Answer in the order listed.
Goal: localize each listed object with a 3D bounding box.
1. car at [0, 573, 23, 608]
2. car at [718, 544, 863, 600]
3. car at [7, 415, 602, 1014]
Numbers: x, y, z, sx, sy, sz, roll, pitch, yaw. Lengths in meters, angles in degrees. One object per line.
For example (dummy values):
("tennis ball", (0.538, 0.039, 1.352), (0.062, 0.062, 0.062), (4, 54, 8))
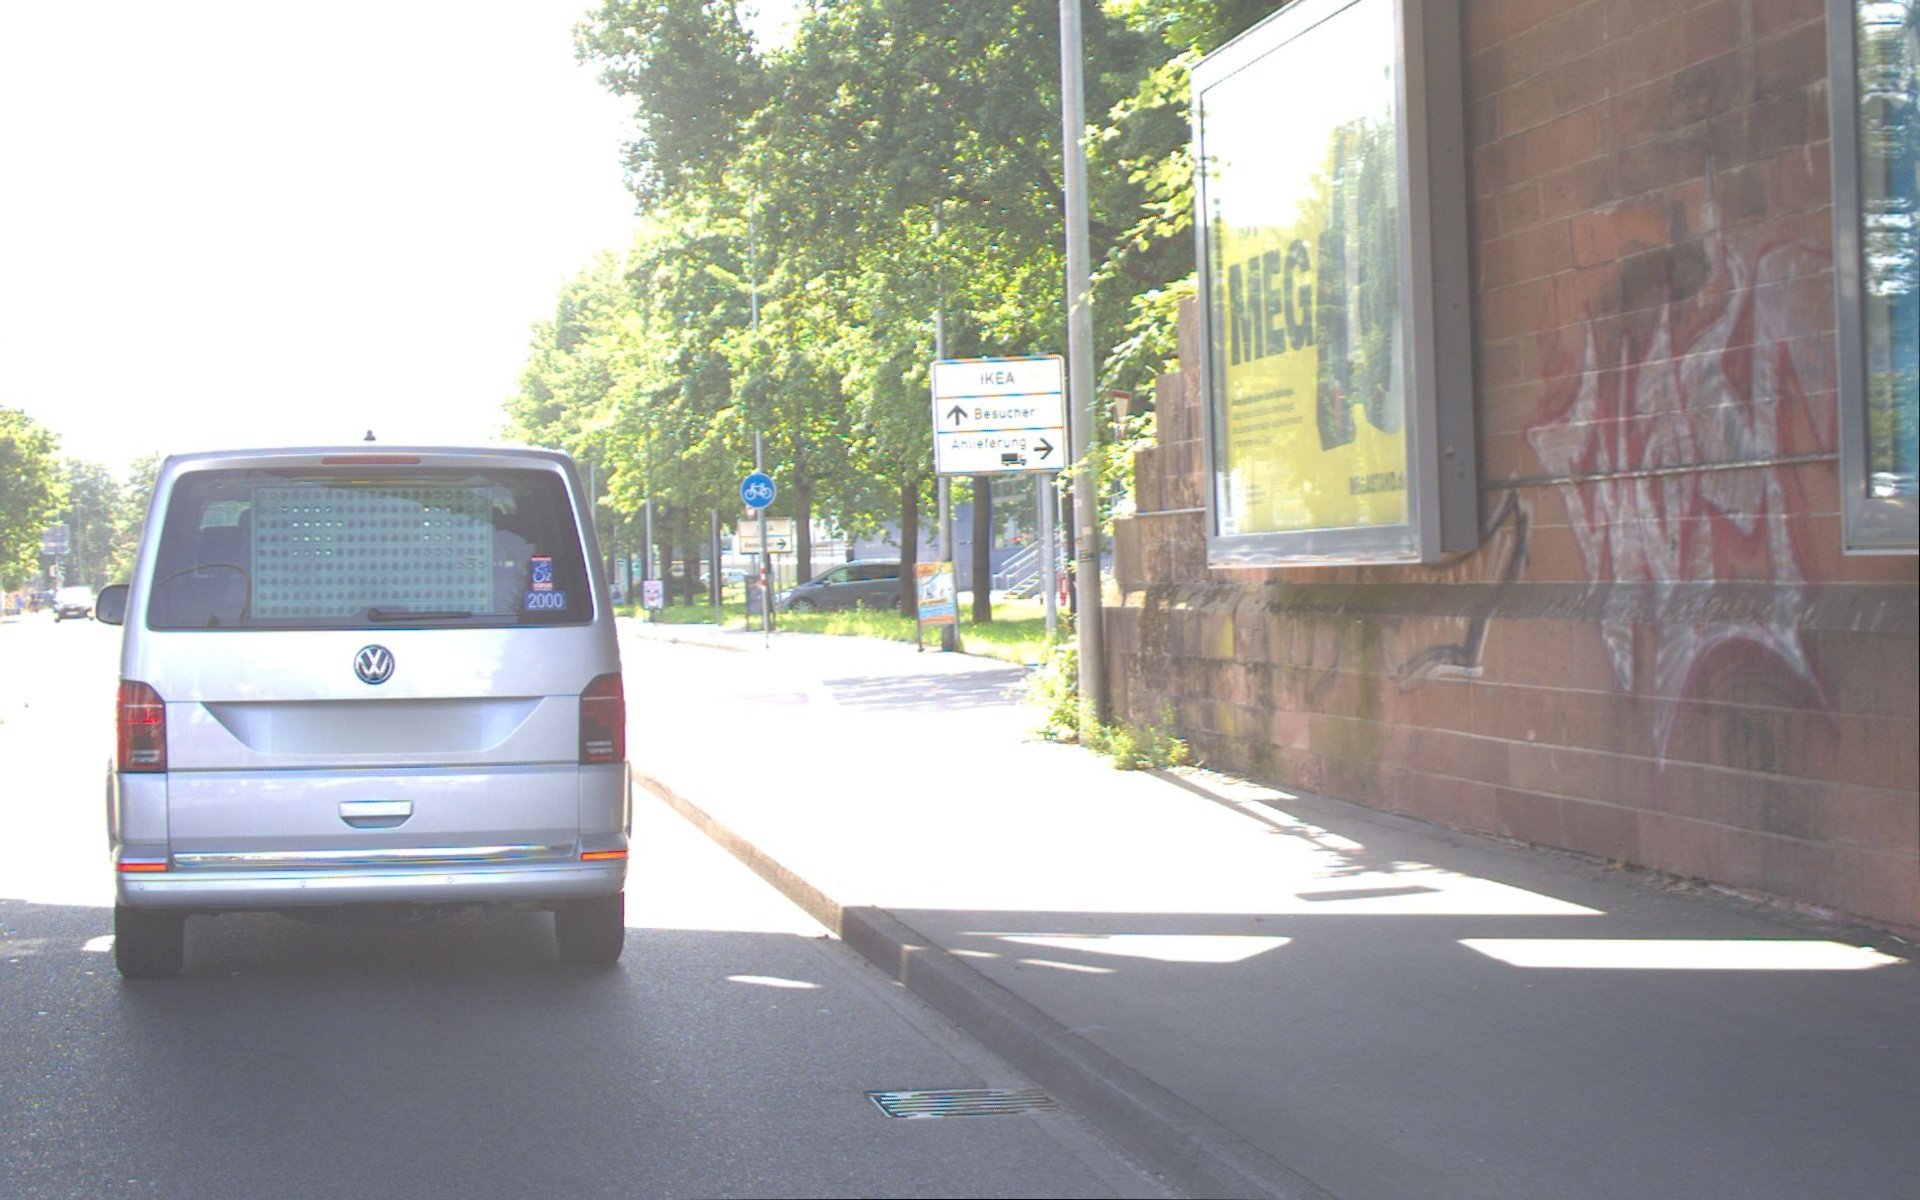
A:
("car", (-42.496, -0.414, 151.932), (1.968, 1.487, 4.083), (-2, 1, -14))
("car", (-4.687, -0.785, 94.893), (3.799, 1.411, 1.702), (-2, 1, -9))
("car", (-2.748, 0.349, 13.939), (1.941, 1.965, 5.023), (-1, 0, -13))
